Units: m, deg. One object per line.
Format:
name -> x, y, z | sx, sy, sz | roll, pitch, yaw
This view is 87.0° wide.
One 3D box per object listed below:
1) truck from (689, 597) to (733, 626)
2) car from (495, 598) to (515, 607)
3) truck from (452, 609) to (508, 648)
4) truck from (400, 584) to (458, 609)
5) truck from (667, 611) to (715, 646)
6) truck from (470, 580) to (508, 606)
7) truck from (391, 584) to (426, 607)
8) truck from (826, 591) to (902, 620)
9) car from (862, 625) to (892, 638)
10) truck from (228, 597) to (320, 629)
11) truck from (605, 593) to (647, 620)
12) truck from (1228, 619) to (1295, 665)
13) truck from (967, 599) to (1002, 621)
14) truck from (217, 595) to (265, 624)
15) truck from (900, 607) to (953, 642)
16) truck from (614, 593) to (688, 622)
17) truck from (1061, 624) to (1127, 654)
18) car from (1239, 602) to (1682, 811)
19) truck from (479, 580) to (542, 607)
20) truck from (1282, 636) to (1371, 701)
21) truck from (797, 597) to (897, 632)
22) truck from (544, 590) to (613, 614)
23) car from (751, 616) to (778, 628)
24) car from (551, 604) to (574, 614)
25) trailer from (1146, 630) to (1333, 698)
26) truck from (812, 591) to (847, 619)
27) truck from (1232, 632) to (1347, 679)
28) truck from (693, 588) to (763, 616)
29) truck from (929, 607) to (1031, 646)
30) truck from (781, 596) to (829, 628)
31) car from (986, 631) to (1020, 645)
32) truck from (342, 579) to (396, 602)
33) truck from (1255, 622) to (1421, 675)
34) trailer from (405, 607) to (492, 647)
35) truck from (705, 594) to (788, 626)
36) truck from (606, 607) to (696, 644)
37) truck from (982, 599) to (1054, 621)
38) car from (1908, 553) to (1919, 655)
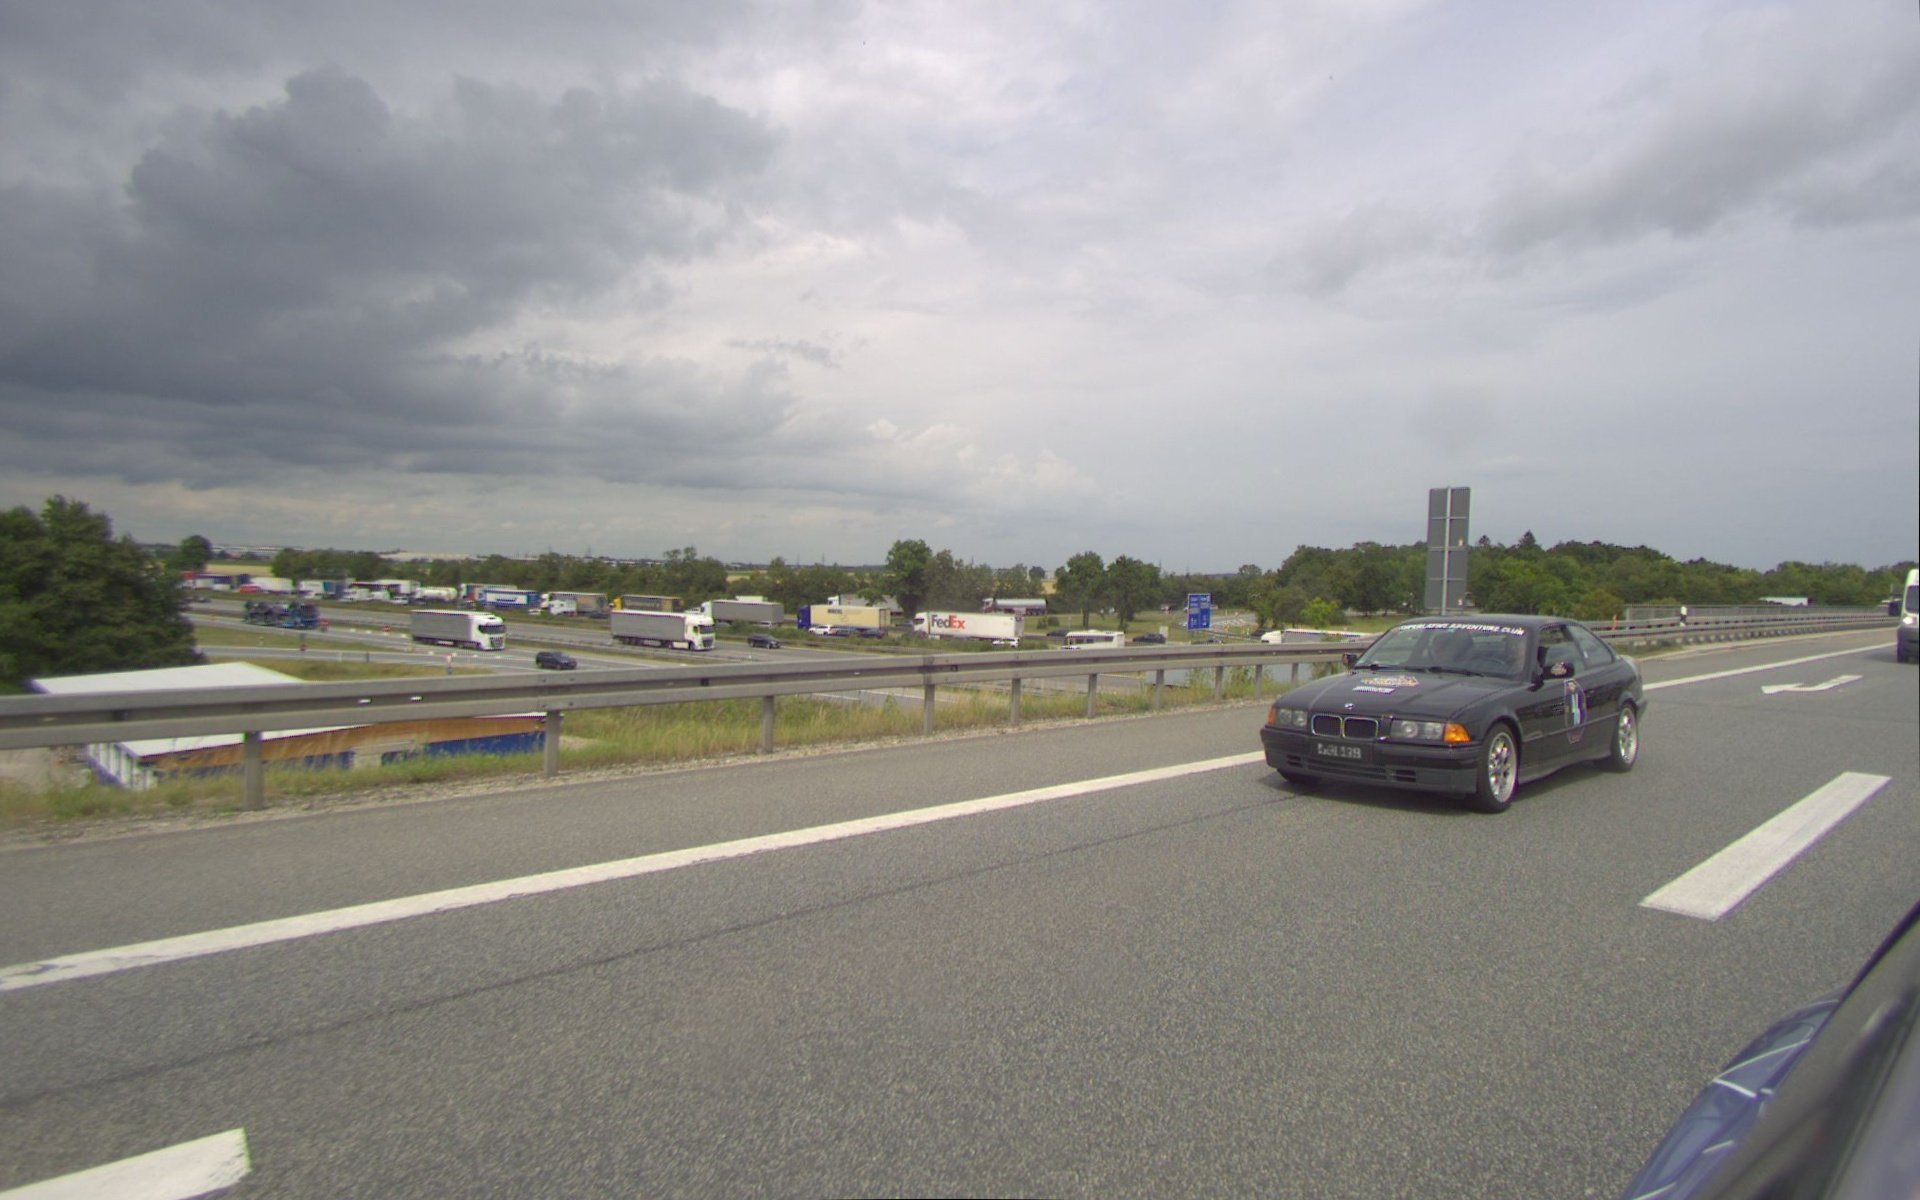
truck -> -40.478, 1.792, 164.584 | 6.255, 4.568, 3.881 | 1, 0, 36
car -> -85.481, 0.510, 190.089 | 3.974, 1.504, 1.716 | 2, 1, 35
truck -> -55.241, 3.214, 116.381 | 6.488, 4.151, 2.952 | 1, 0, 35
truck -> -110.838, -0.789, 211.147 | 15.250, 4.882, 4.036 | 1, 0, 34
truck -> -30.957, 3.290, 116.486 | 5.130, 3.725, 2.467 | 2, 0, 33
truck -> -92.949, -1.390, 199.785 | 6.451, 4.798, 4.024 | 1, 0, 33
truck -> -117.516, -0.942, 215.733 | 6.454, 4.555, 4.022 | 1, 0, 34
truck -> -18.596, 1.095, 197.622 | 14.564, 5.281, 3.864 | 1, 0, -3
car -> -11.484, 4.360, 139.374 | 3.976, 1.504, 1.715 | 2, 1, 36
truck -> -99.231, 1.745, 146.174 | 18.907, 4.111, 3.947 | 1, 1, 33
truck -> -58.538, 1.068, 177.417 | 6.462, 4.555, 4.017 | 1, 0, 37
truck -> 33.507, 4.598, 112.525 | 6.259, 4.733, 3.879 | 1, 0, 38
truck -> 4.868, 2.004, 201.603 | 6.307, 4.240, 3.169 | 0, 0, -20
truck -> -108.025, 1.354, 151.968 | 6.371, 4.041, 3.818 | 1, 1, 32
truck -> -4.609, 3.281, 138.992 | 6.254, 4.568, 3.882 | 1, 0, 36
truck -> -53.062, 1.243, 173.224 | 15.219, 4.612, 3.954 | 1, 0, 37
truck -> 15.714, 4.515, 118.965 | 7.520, 3.237, 2.203 | 1, 0, 36
car -> 4.323, 0.706, 8.431 | 4.287, 1.297, 1.708 | 1, 0, -39
truck -> -87.040, -1.276, 195.841 | 14.384, 4.882, 4.037 | 1, 0, 34
truck -> 27.064, 4.973, 74.770 | 5.580, 4.340, 3.091 | 1, 0, 36
truck -> -16.731, 2.006, 148.465 | 16.263, 4.612, 3.957 | 1, 0, 36
truck -> -69.649, 0.339, 184.490 | 14.799, 4.082, 4.090 | 1, 0, 36
car -> -29.123, 3.258, 150.450 | 3.976, 1.504, 1.715 | 2, 1, 37
car -> -67.325, 1.476, 171.409 | 3.975, 1.504, 1.716 | 2, 1, 36
trailer -> 21.506, 4.809, 78.818 | 13.869, 4.340, 3.091 | 2, 0, 36
truck -> -25.374, 1.029, 197.295 | 6.318, 5.380, 3.860 | 0, 0, -2
truck -> 33.562, 5.593, 103.378 | 10.702, 4.123, 3.203 | 1, 0, 33
truck -> -45.865, 0.383, 200.206 | 12.778, 5.104, 3.944 | 1, 0, 7
truck -> 2.526, 3.433, 133.947 | 13.702, 4.612, 3.957 | 1, 0, 35
truck -> -23.521, 1.782, 153.370 | 6.253, 4.568, 3.882 | 1, 0, 35
car -> 5.416, 4.731, 126.446 | 3.975, 1.575, 1.651 | 2, 1, 35
truck -> -130.692, -2.081, 223.649 | 15.250, 4.882, 4.036 | 1, 0, 34
truck -> 39.891, 4.965, 107.537 | 16.085, 4.759, 3.940 | 1, 1, 38
trailer -> -61.074, 3.112, 120.487 | 14.158, 4.151, 2.952 | 1, 0, 35
truck -> -33.880, 1.518, 159.757 | 14.796, 4.612, 3.955 | 1, 0, 37
truck -> -36.868, 2.997, 120.340 | 13.047, 3.725, 2.467 | 3, 0, 34
truck -> 11.755, 2.031, 204.092 | 14.422, 4.141, 3.092 | 1, 0, -21
car -> 26.077, 0.158, 25.866 | 6.044, 2.485, 2.117 | 1, 0, -41
